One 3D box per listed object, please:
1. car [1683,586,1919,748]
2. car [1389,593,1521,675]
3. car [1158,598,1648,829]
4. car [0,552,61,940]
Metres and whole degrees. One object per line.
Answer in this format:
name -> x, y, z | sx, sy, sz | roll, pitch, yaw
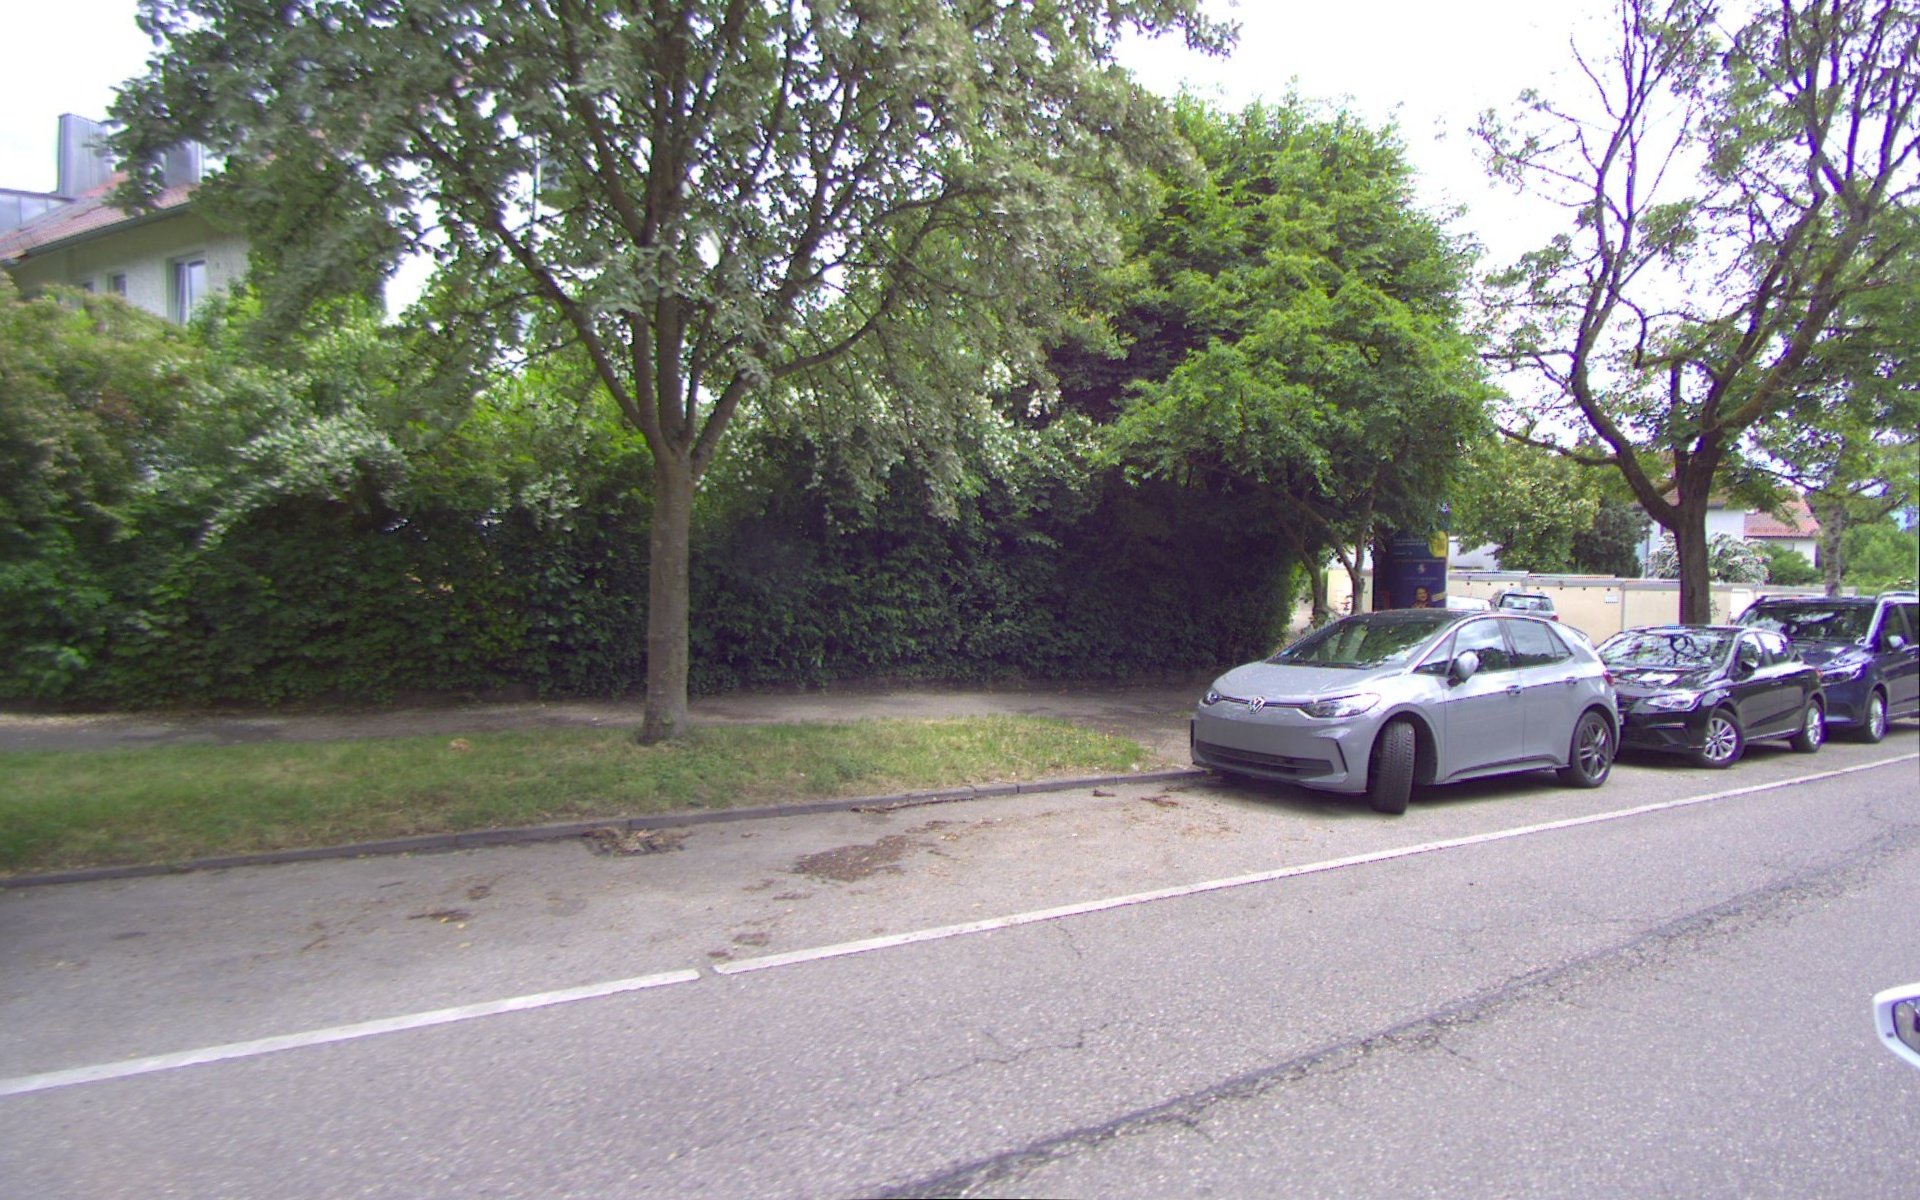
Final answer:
car -> 12.405, 0.836, 14.209 | 5.029, 1.934, 1.847 | 1, 0, -34
car -> 10.995, 0.694, 22.177 | 1.751, 1.497, 3.974 | 6, 3, 37
car -> 3.941, 0.820, 8.775 | 4.179, 1.558, 1.856 | 1, 0, -32
car -> -5.655, 0.562, 2.996 | 4.090, 1.600, 1.728 | 1, 0, -29
